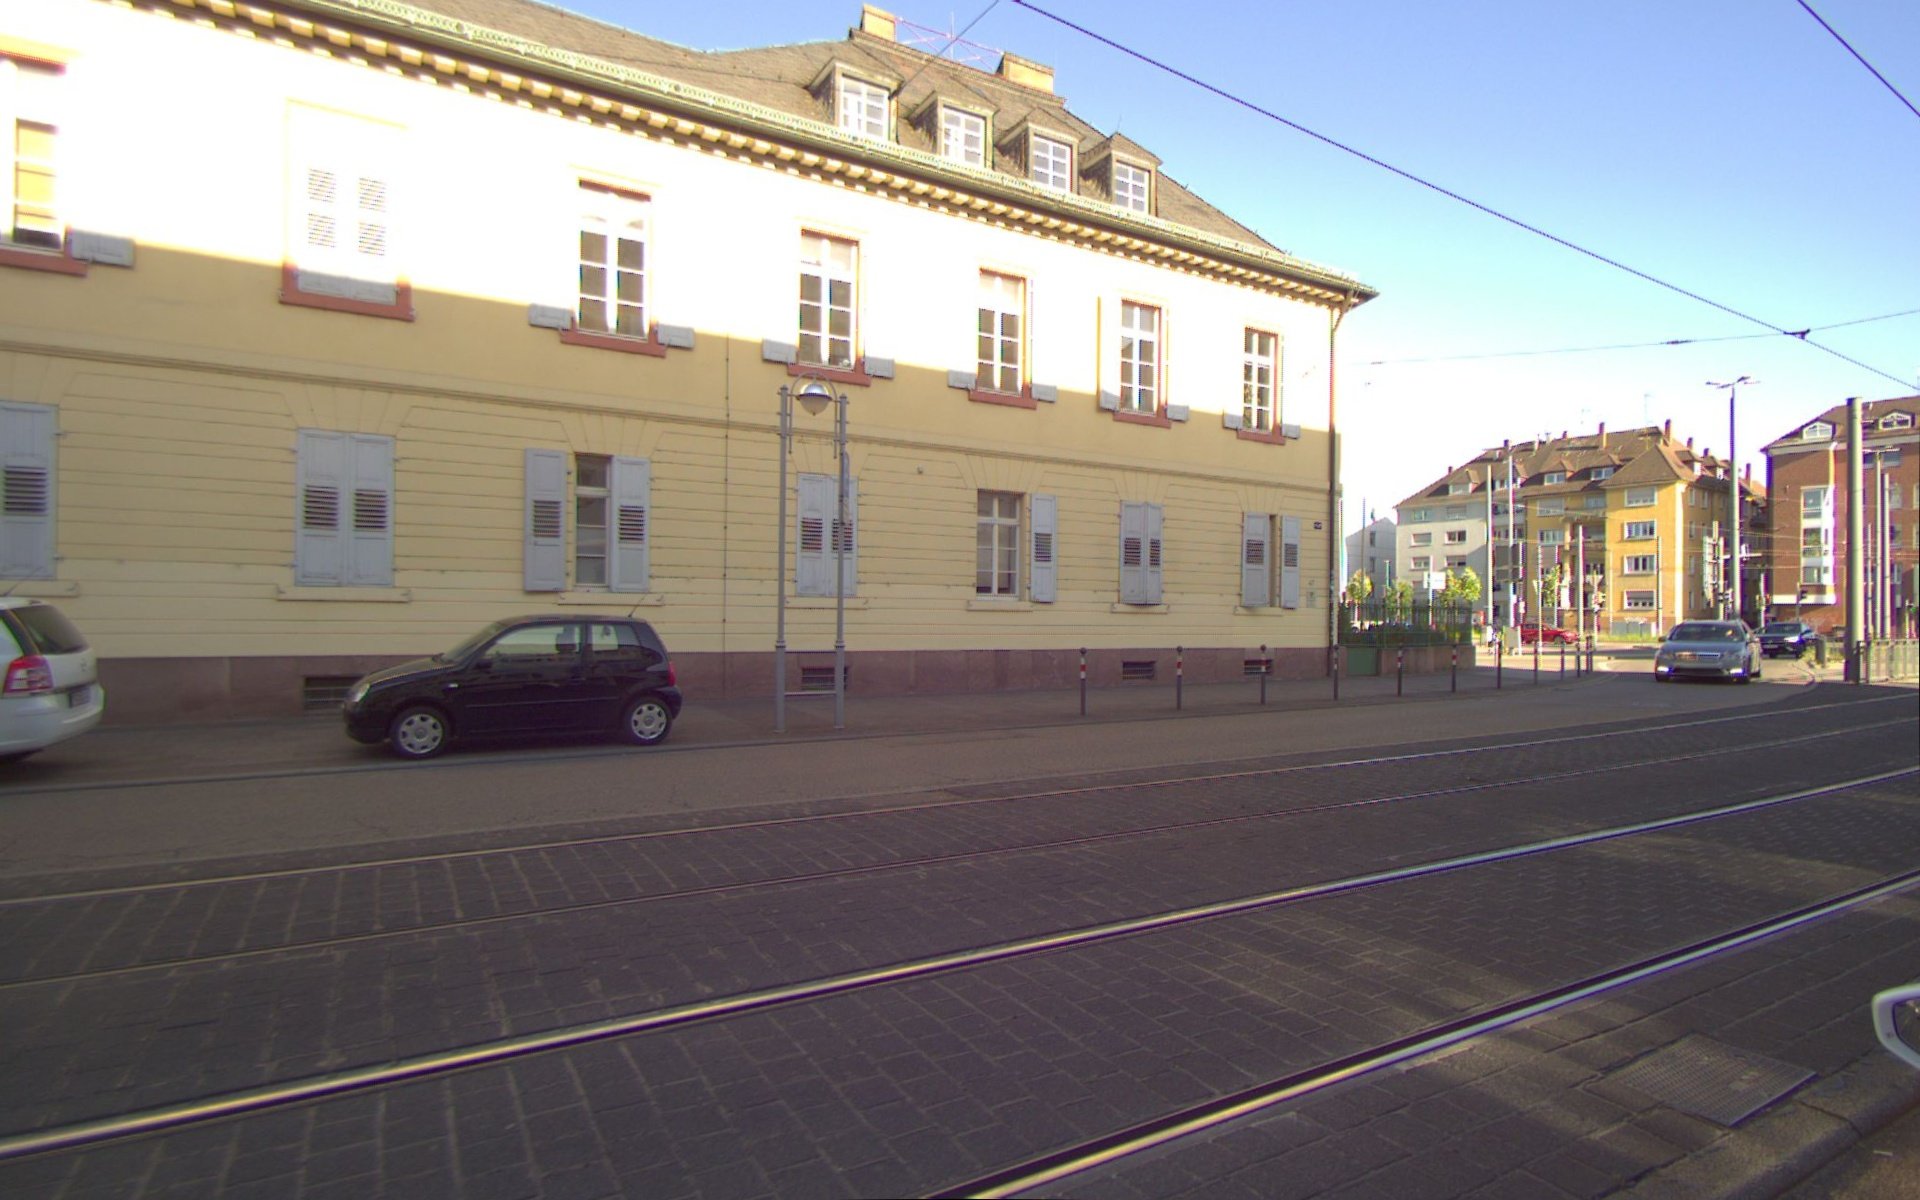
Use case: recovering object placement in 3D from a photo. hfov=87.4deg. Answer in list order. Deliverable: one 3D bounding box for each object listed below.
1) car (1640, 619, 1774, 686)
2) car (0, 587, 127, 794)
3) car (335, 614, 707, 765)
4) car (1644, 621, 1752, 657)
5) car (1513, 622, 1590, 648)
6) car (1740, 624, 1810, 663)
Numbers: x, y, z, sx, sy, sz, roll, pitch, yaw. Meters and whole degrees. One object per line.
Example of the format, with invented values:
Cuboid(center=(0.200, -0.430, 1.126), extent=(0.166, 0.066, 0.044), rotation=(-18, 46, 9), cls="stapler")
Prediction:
Cuboid(center=(18.715, 1.261, 25.077), extent=(4.895, 1.515, 1.862), rotation=(2, -2, -43), cls="car")
Cuboid(center=(-10.184, 0.724, 8.437), extent=(4.590, 1.708, 1.800), rotation=(1, 1, -28), cls="car")
Cuboid(center=(-4.959, 0.927, 11.514), extent=(3.678, 1.419, 1.606), rotation=(1, 1, -31), cls="car")
Cuboid(center=(37.841, 1.959, 51.673), extent=(1.781, 1.577, 4.603), rotation=(2, 1, -6), cls="car")
Cuboid(center=(40.145, 2.353, 68.251), extent=(1.922, 1.510, 4.112), rotation=(1, 0, -39), cls="car")
Cuboid(center=(33.924, 1.763, 41.777), extent=(4.251, 1.532, 1.747), rotation=(1, -1, -44), cls="car")
